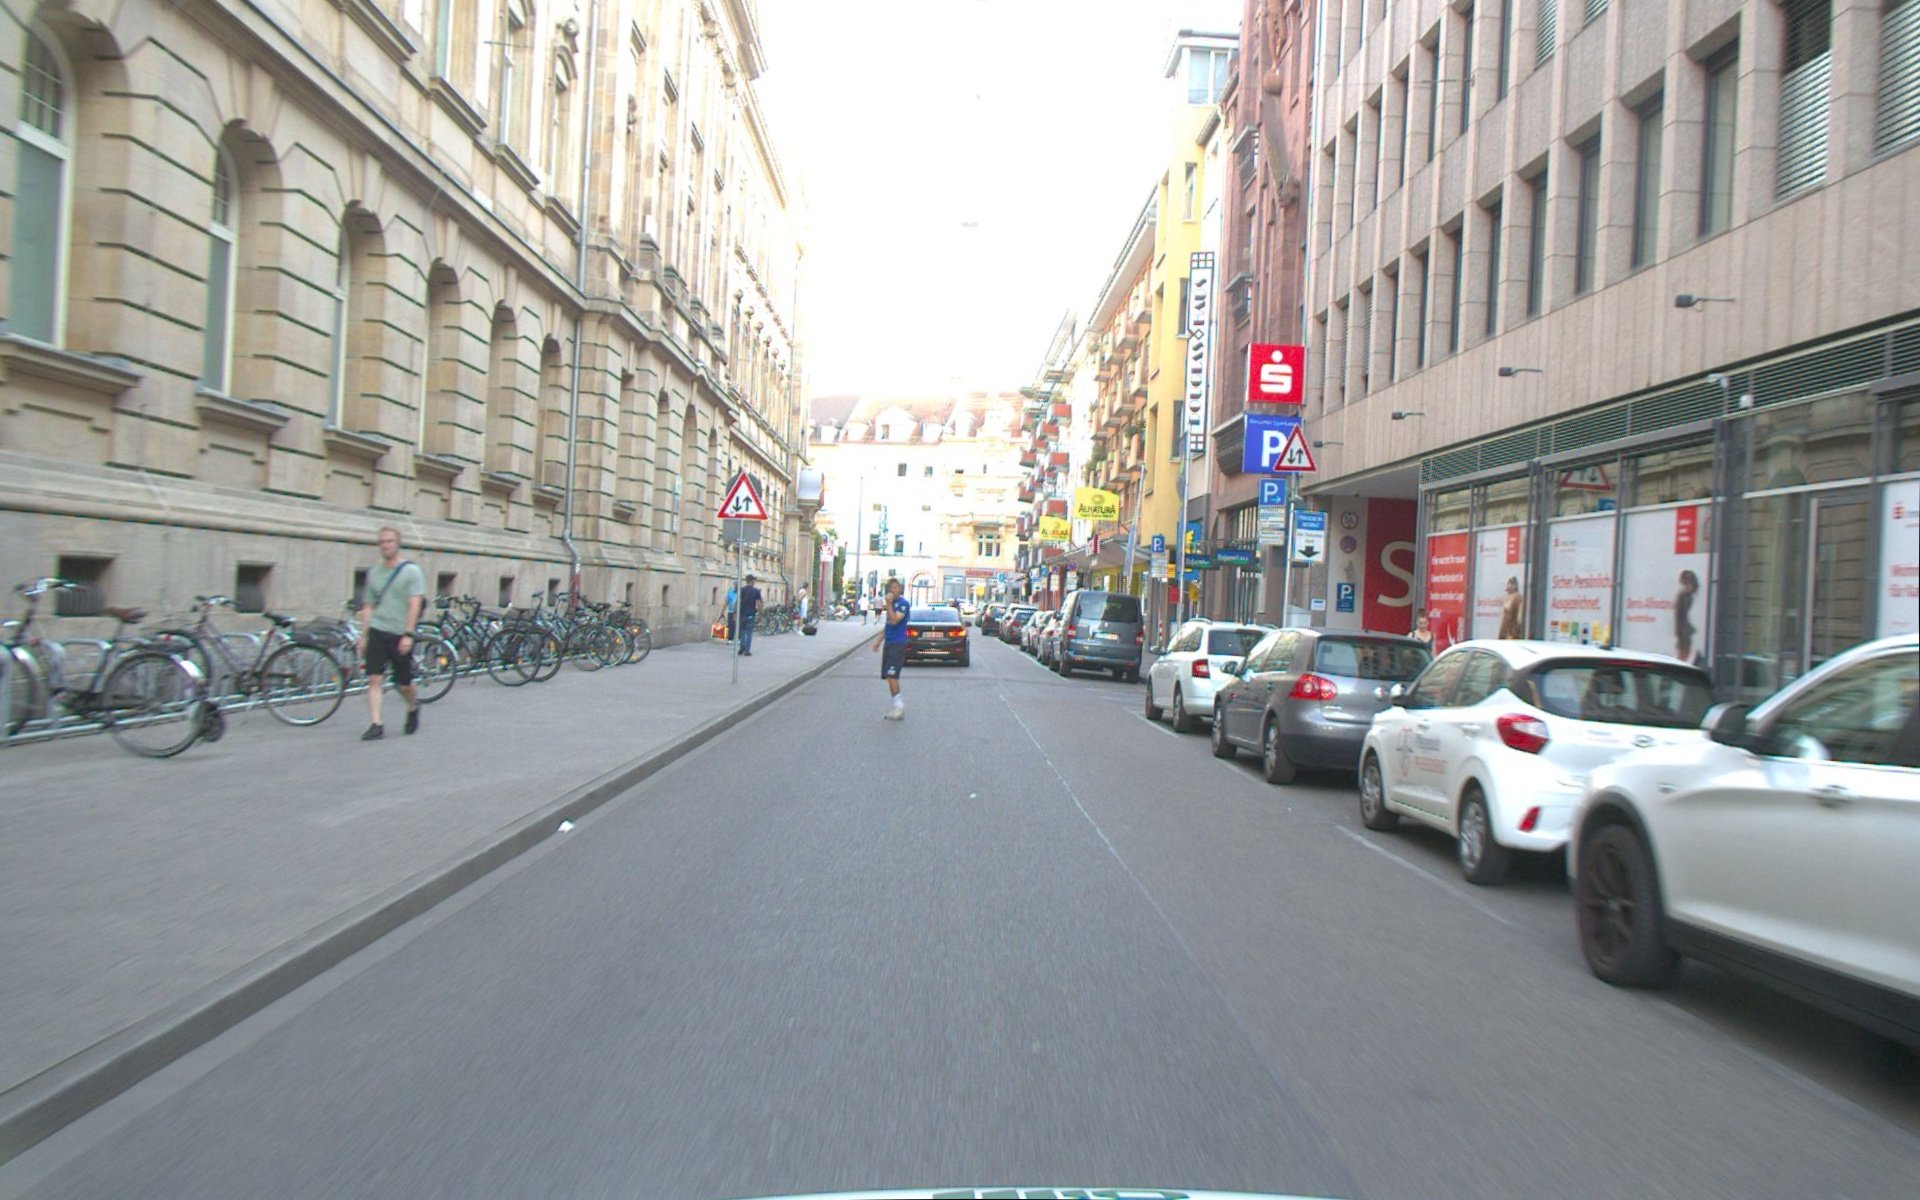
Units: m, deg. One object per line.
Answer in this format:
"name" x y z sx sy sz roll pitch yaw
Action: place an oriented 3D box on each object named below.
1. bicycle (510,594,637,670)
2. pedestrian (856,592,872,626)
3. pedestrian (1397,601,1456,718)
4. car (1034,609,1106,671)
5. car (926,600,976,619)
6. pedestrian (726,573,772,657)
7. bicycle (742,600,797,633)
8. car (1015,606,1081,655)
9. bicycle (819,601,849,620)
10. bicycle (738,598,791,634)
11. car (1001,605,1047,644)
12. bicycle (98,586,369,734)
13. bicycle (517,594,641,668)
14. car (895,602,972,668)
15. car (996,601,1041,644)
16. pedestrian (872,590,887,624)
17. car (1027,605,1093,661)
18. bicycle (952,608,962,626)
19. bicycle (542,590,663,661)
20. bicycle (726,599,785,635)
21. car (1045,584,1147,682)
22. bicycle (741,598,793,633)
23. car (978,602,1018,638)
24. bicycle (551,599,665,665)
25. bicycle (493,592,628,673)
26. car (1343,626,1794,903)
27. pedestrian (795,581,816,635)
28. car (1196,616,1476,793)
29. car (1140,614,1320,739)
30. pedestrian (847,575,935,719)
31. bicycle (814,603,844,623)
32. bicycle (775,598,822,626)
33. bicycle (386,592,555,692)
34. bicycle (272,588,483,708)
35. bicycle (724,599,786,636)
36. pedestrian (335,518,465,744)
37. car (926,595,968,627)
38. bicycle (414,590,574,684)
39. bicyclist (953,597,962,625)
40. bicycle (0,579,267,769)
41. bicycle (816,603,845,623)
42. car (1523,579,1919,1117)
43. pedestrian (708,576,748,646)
"bicycle" -6.332 0.523 27.182 1.901 1.097 0.729 5 -1 -8
"pedestrian" -5.470 0.521 94.438 0.726 1.844 1.008 5 0 -1
"pedestrian" 6.784 0.855 24.079 0.635 1.664 0.650 1 0 -2
"car" 3.077 1.100 47.027 1.652 1.478 4.498 5 0 0
"car" -0.864 0.889 157.906 4.263 1.589 1.868 2 -1 22
"pedestrian" -4.690 0.329 36.792 0.793 1.781 0.969 4 -1 -1
"bicycle" -6.915 0.597 59.966 1.900 1.080 0.619 4 -1 -7
"car" 3.014 1.029 57.311 1.658 1.435 4.636 5 0 -4
"bicycle" -7.990 0.661 104.795 1.757 1.127 0.500 3 0 2
"bicycle" -6.835 0.558 57.954 1.760 1.127 0.499 4 -1 -7
"car" 2.673 1.009 70.157 1.657 1.439 4.756 5 0 0
"bicycle" -6.139 0.513 14.114 1.989 1.097 0.726 5 -1 -21
"bicycle" -6.413 0.520 27.952 1.901 1.097 0.729 5 -1 -8
"car" -0.637 0.824 40.970 1.729 1.398 4.790 3 0 0
"car" 2.625 0.988 75.125 1.717 1.697 4.756 5 0 0
"pedestrian" -4.617 0.405 94.791 0.729 1.926 1.050 4 0 0
"car" 3.104 1.003 52.142 1.586 1.542 4.172 5 0 -2
"bicycle" -0.185 1.119 107.301 0.525 1.127 1.800 3 0 1
"bicycle" -6.301 0.449 29.221 1.898 1.097 0.748 5 -1 -2
"bicycle" -6.888 0.578 55.733 1.900 1.080 0.619 4 -1 -7
"car" 3.204 0.761 39.941 1.809 2.094 5.052 4 -1 -2
"bicycle" -6.906 0.565 59.152 1.760 1.127 0.499 4 -1 -7
"car" 1.980 0.982 84.360 1.757 1.637 4.488 5 0 3
"bicycle" -6.398 0.578 30.137 1.898 1.064 0.721 4 0 -6
"bicycle" -6.226 0.511 25.869 1.901 1.097 0.729 5 -1 -8
"car" 3.973 0.979 11.503 1.623 1.473 3.868 4 -1 0
"pedestrian" -5.538 0.291 59.319 0.577 1.883 0.753 4 0 -7
"car" 3.693 0.960 17.044 1.624 1.473 4.443 4 -1 -3
"car" 3.638 0.981 23.017 1.623 1.473 4.306 4 -1 -2
"pedestrian" -0.900 0.602 21.488 0.814 1.820 0.766 2 0 -43
"bicycle" -8.141 0.804 102.615 1.758 1.127 0.500 3 0 -2
"bicycle" -7.209 0.533 73.868 1.906 1.080 0.617 6 -1 -16
"bicycle" -6.206 0.527 21.055 1.901 1.097 0.729 5 -1 -8
"bicycle" -6.161 0.503 17.568 1.899 1.097 0.729 5 -1 -4
"bicycle" -6.750 0.567 54.488 1.898 1.080 0.619 4 -1 -2
"pedestrian" -4.709 0.255 13.960 0.703 1.811 0.800 4 0 -1
"car" -0.626 0.549 82.969 1.838 1.498 4.002 2 0 3
"bicycle" -6.239 0.494 22.244 1.901 1.097 0.729 5 -1 -8
"bicyclist" -0.161 0.724 107.280 0.513 1.787 0.620 3 -1 1
"bicycle" -5.902 0.478 11.246 1.981 1.128 0.729 5 -1 -8
"bicycle" -8.009 0.811 102.272 1.758 1.127 0.500 3 0 -1
"car" 3.889 0.841 6.017 1.741 1.695 4.810 4 -1 -3
"pedestrian" -6.141 0.293 43.804 0.812 1.776 0.769 5 0 -1
